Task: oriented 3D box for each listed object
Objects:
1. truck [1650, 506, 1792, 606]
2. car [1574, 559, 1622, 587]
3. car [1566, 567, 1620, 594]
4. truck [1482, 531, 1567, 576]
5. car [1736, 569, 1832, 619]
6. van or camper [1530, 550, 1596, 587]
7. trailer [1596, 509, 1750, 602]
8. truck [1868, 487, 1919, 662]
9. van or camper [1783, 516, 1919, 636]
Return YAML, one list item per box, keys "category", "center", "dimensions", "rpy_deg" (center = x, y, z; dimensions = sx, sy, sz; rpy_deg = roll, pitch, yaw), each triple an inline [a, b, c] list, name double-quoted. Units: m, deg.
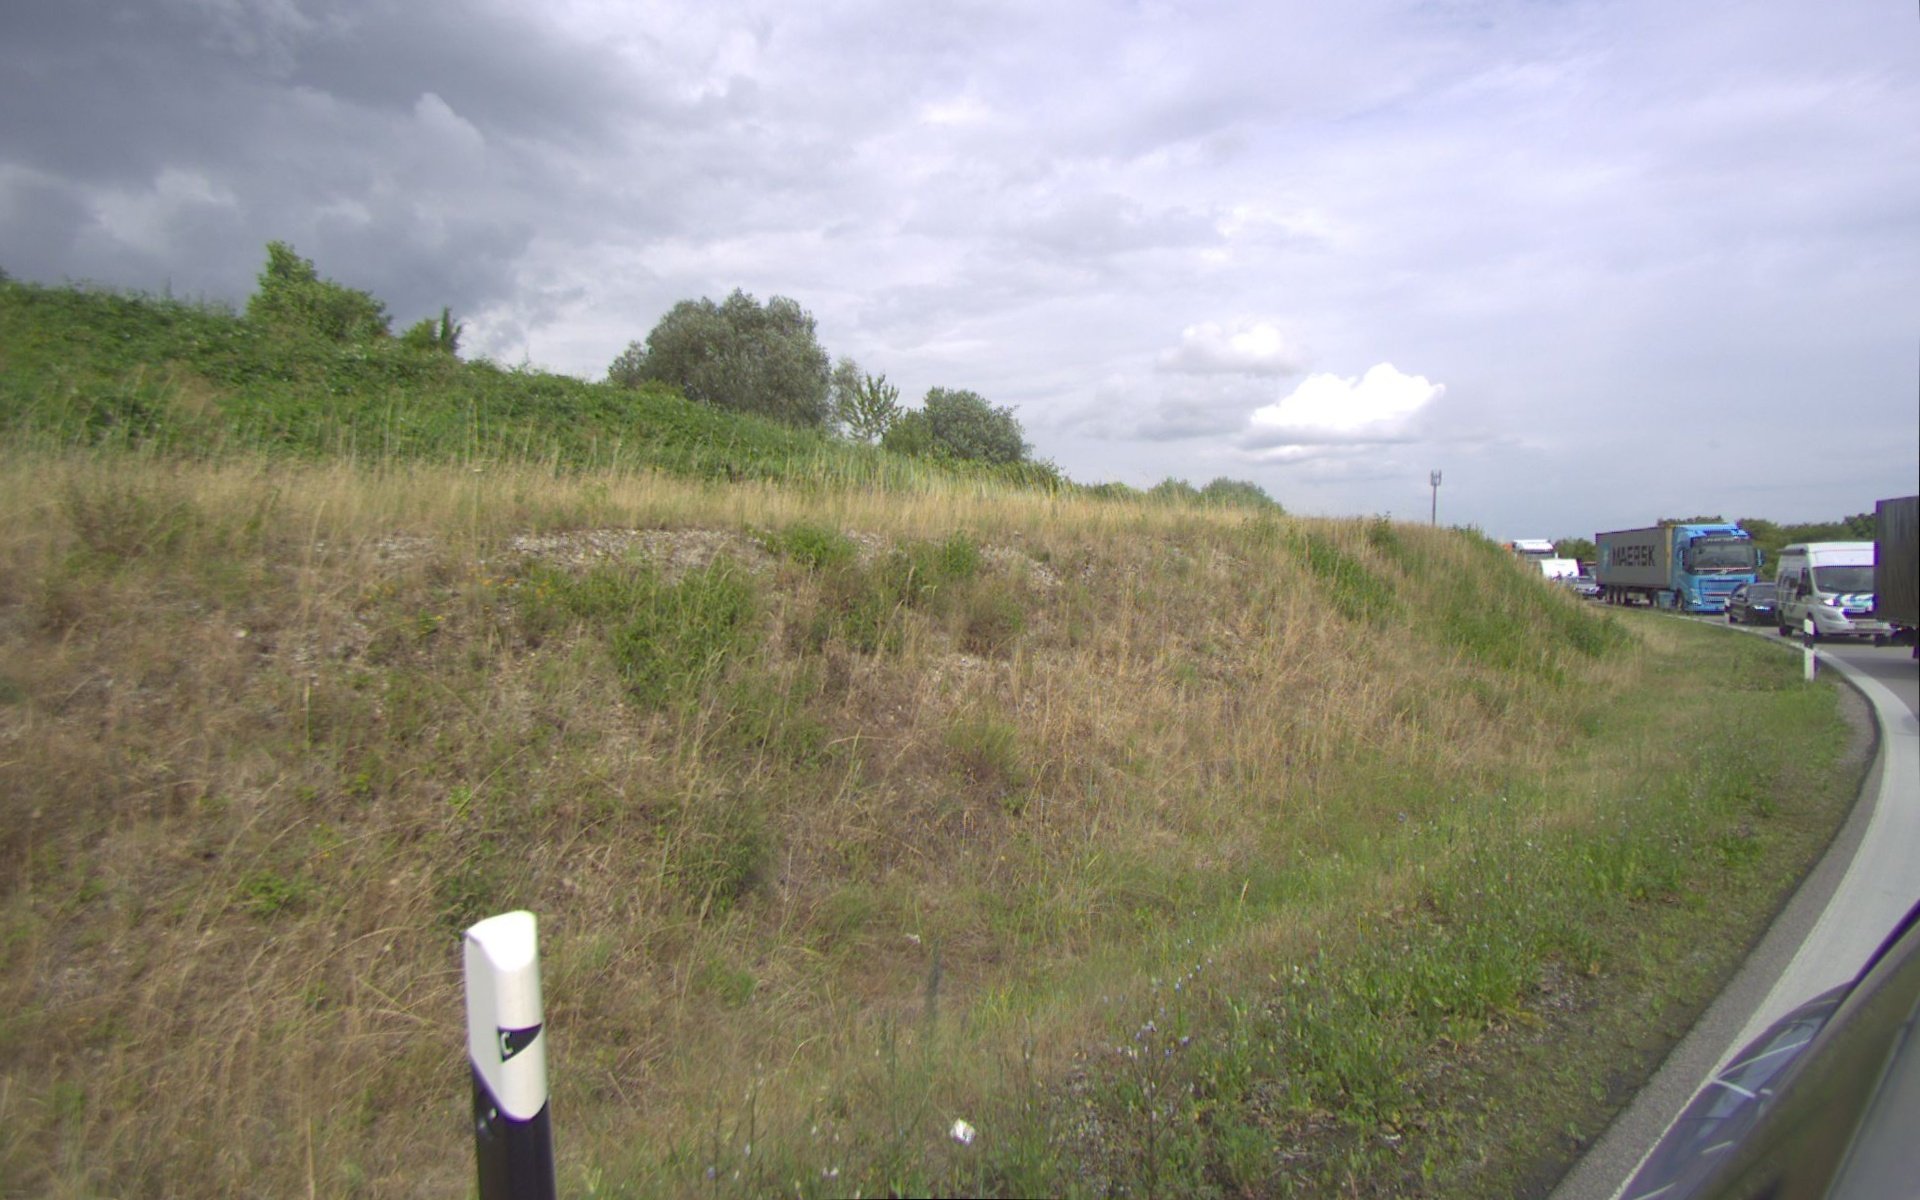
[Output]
- category: "truck"
  center: [33.901, -1.840, 45.423]
  dimensions: [3.139, 4.124, 6.605]
  rpy_deg: [0, 0, 19]
- category: "car"
  center: [53.351, -2.313, 84.771]
  dimensions: [1.971, 2.286, 4.790]
  rpy_deg: [0, 2, 14]
- category: "car"
  center: [39.136, -1.217, 62.636]
  dimensions: [1.974, 1.548, 3.977]
  rpy_deg: [0, 2, 19]
- category: "truck"
  center: [44.091, -3.567, 79.491]
  dimensions: [3.080, 3.279, 11.113]
  rpy_deg: [0, 2, 14]
- category: "car"
  center: [29.306, -0.273, 36.127]
  dimensions: [1.983, 1.638, 3.960]
  rpy_deg: [1, 2, 29]
- category: "van or camper"
  center: [40.837, -2.189, 68.718]
  dimensions: [2.519, 2.237, 5.684]
  rpy_deg: [-1, 4, 17]
- category: "trailer"
  center: [36.328, -2.085, 52.257]
  dimensions: [3.234, 4.214, 11.943]
  rpy_deg: [0, 0, 19]
- category: "truck"
  center: [18.521, -0.466, 17.614]
  dimensions: [2.547, 3.207, 7.389]
  rpy_deg: [0, 0, 30]
- category: "van or camper"
  center: [24.464, -0.612, 27.510]
  dimensions: [2.379, 2.945, 5.659]
  rpy_deg: [0, 0, 30]
